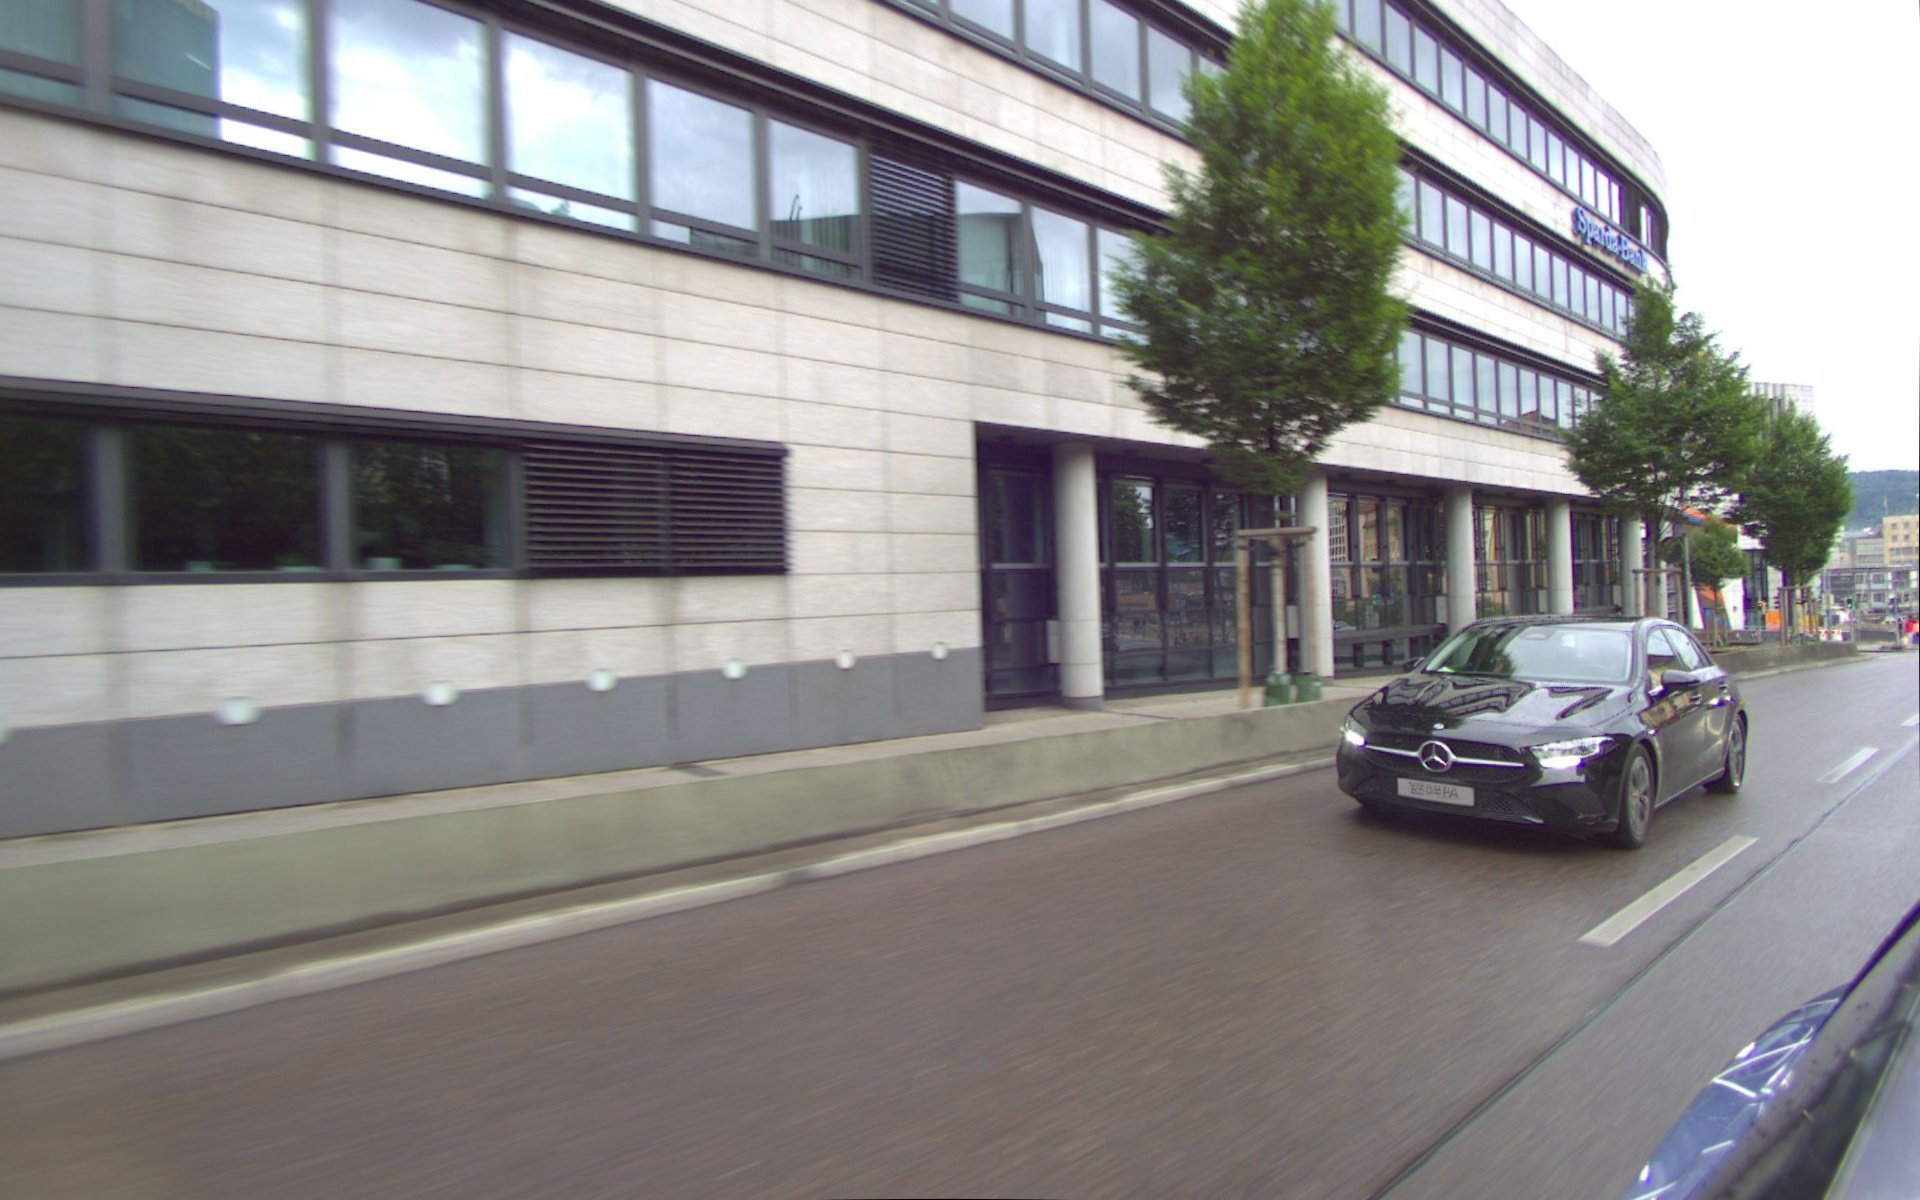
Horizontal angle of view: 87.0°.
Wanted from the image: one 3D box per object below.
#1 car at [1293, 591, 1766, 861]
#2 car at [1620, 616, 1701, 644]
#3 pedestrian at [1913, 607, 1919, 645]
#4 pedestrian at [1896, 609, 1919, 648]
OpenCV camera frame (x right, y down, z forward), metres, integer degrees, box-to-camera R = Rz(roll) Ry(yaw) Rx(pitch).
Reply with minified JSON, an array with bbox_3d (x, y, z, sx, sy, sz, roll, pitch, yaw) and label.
[{"bbox_3d":[4.416,0.695,7.572,4.133,1.455,1.875,0,-1,-42],"label":"car"},{"bbox_3d":[45.056,1.895,65.150,1.813,1.640,3.992,0,0,-42],"label":"car"},{"bbox_3d":[50.377,1.352,52.695,0.972,1.971,0.768,0,0,-23],"label":"pedestrian"},{"bbox_3d":[49.240,1.482,52.429,0.753,1.971,0.992,0,0,-39],"label":"pedestrian"}]
